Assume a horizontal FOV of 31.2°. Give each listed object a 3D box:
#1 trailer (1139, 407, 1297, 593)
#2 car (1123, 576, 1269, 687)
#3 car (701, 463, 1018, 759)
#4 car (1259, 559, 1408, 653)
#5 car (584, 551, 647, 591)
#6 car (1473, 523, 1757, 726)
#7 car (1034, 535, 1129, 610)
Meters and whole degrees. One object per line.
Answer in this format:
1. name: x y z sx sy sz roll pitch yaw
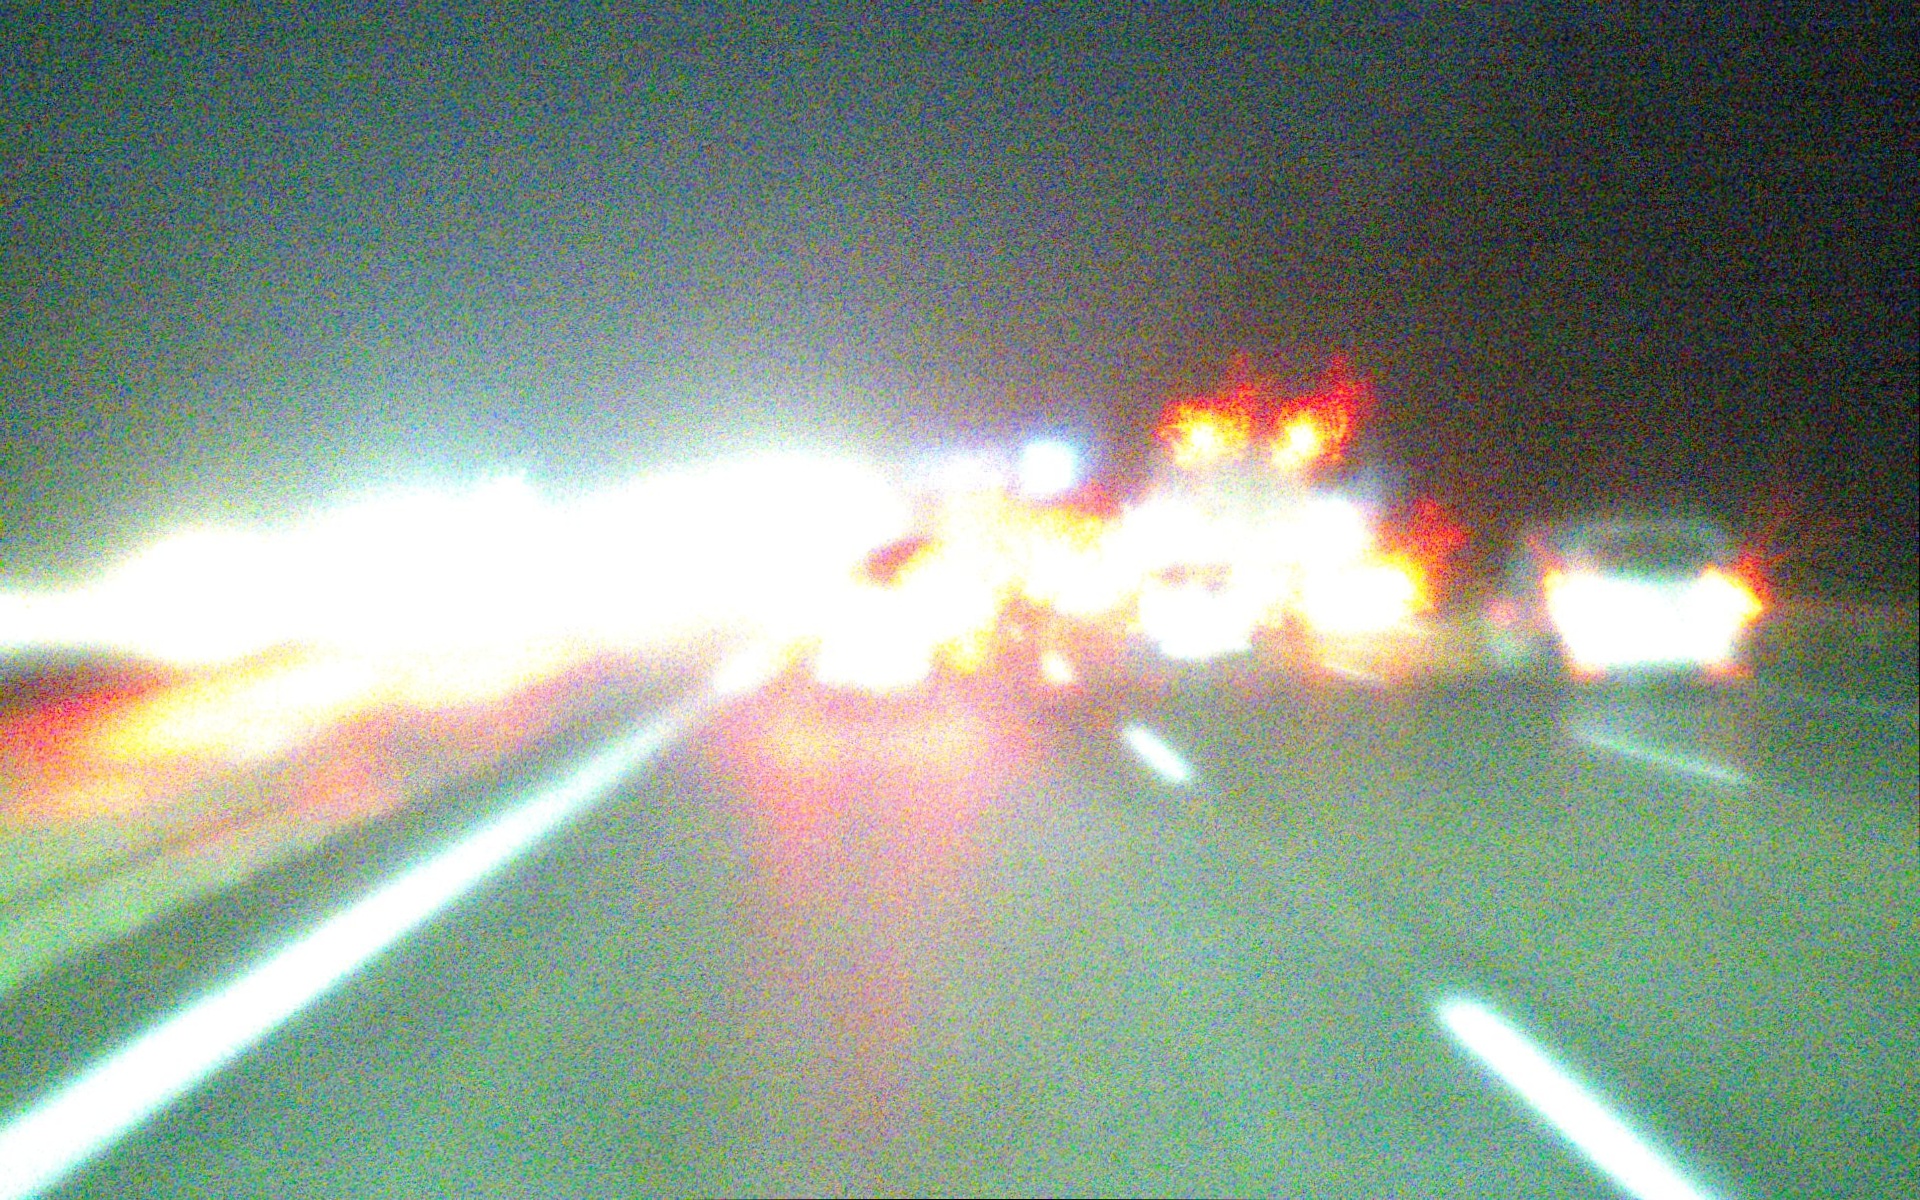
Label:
1. trailer: 6.196 -2.372 84.286 2.803 4.198 12.097 0 1 -1
2. car: 3.149 0.401 46.486 1.612 1.407 3.792 0 1 -2
3. car: -0.986 0.027 33.339 2.709 2.525 5.831 -2 1 -2
4. car: 6.441 0.075 59.737 1.894 1.481 4.962 1 1 -2
5. car: -13.121 -1.120 131.004 1.993 1.415 4.000 -2 1 -1
6. car: 7.002 0.189 37.357 2.046 1.967 5.407 -2 1 1
7. car: 2.630 -0.617 75.136 1.884 1.583 4.000 0 1 -1
